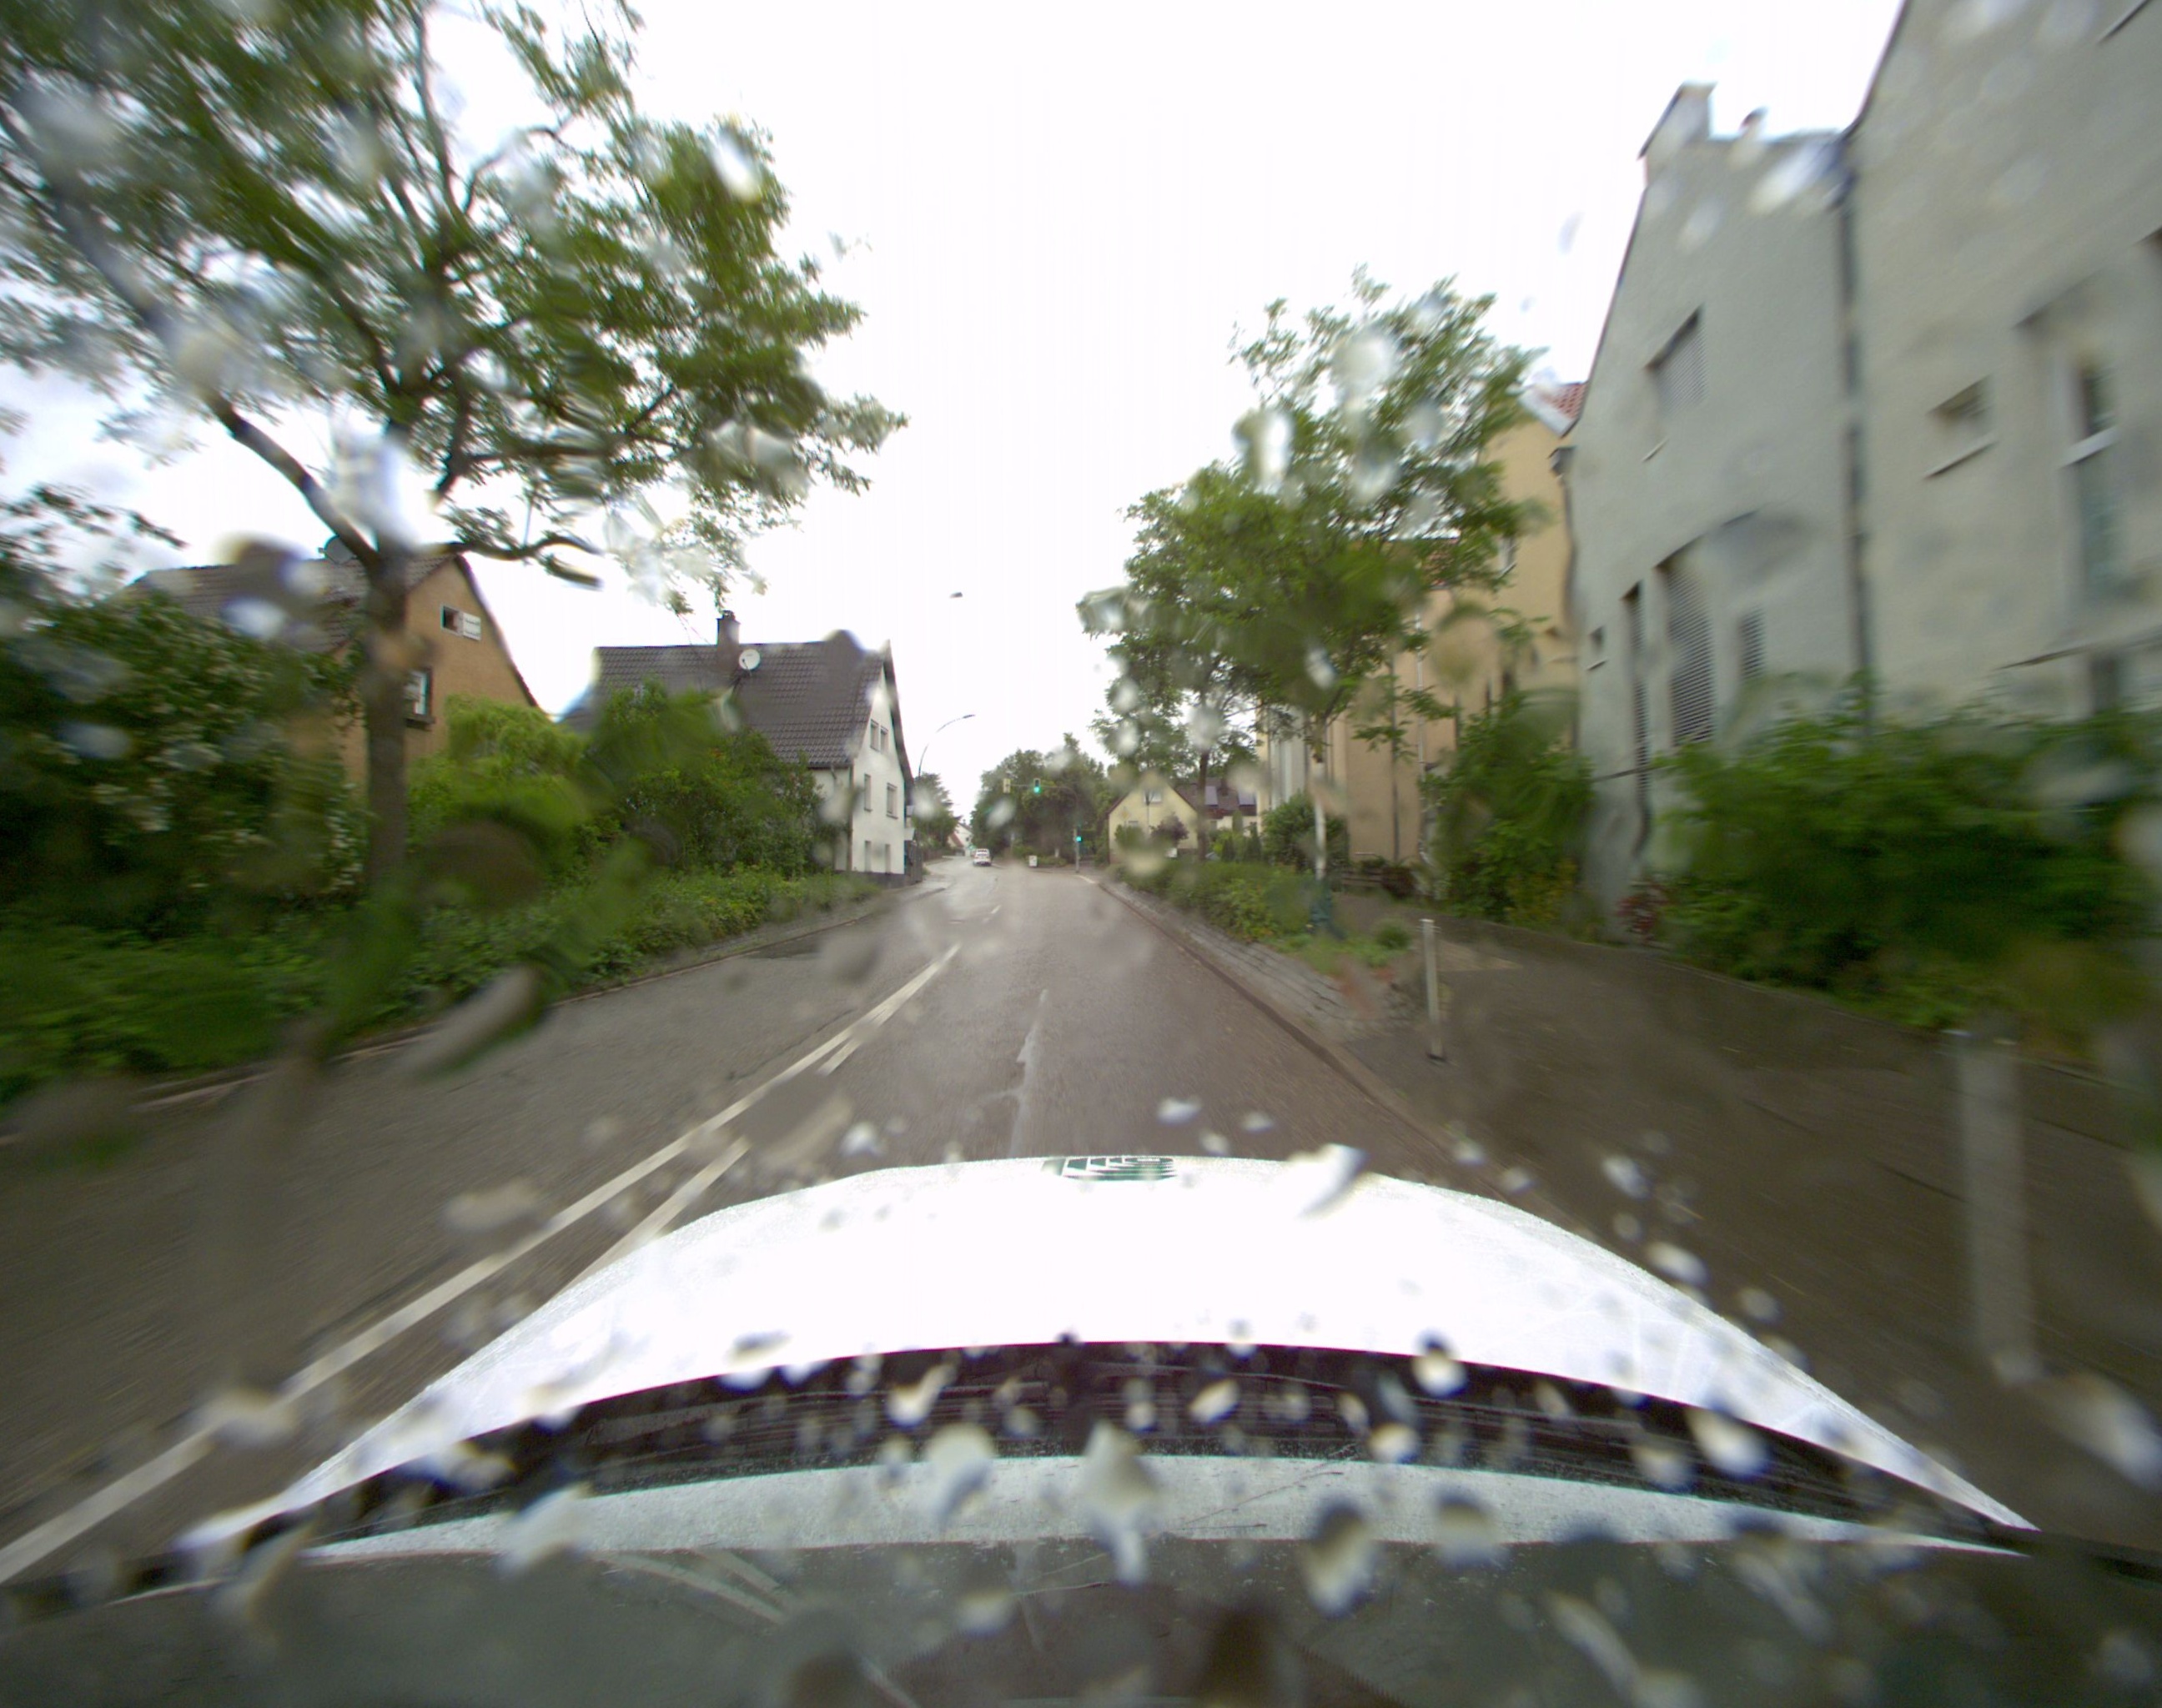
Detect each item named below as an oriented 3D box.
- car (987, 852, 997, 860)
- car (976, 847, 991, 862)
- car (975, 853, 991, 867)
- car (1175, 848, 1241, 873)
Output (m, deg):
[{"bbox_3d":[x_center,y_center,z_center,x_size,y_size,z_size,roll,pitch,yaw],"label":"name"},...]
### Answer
[{"bbox_3d":[-15.941,0.350,145.086,1.650,1.371,4.170,-1,0,-8],"label":"car"},{"bbox_3d":[-11.633,0.055,97.233,1.635,1.741,4.128,-1,0,-5],"label":"car"},{"bbox_3d":[-10.428,0.596,86.362,1.610,1.480,4.027,0,0,-8],"label":"car"},{"bbox_3d":[8.122,0.440,52.234,4.107,1.585,1.869,0,-1,9],"label":"car"}]
